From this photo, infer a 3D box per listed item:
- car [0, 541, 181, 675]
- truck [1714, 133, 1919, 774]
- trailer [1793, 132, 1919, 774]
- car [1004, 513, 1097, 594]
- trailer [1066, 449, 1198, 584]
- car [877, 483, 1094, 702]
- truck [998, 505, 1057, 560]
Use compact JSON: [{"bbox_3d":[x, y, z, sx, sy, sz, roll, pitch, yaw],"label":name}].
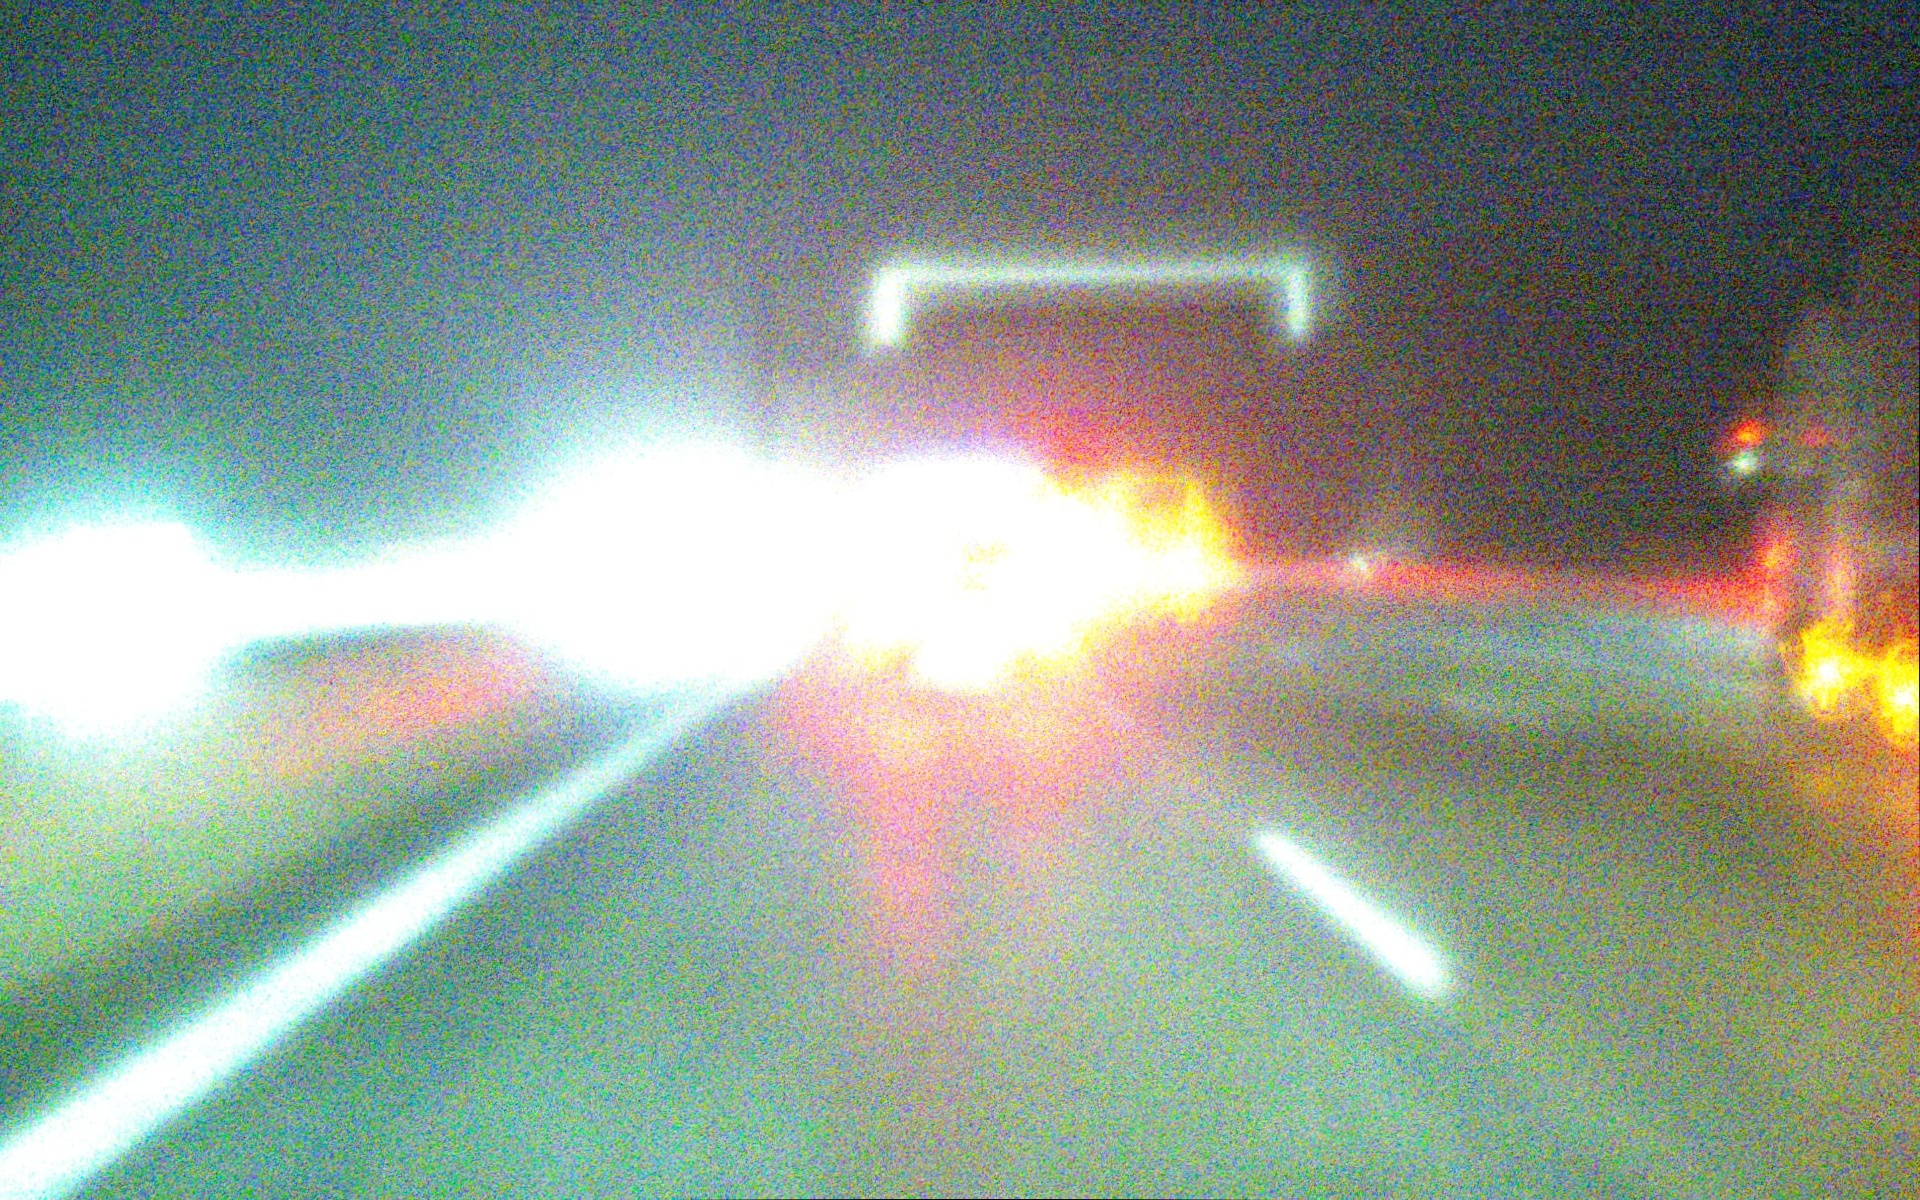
[{"bbox_3d":[-13.863,0.091,54.837,1.993,2.007,4.000,-1,1,-1],"label":"car"},{"bbox_3d":[7.556,-1.000,24.426,2.903,4.094,6.031,-2,1,-1],"label":"truck"},{"bbox_3d":[7.650,-0.887,17.737,2.903,4.094,14.488,-2,1,-1],"label":"trailer"},{"bbox_3d":[2.359,-1.212,90.452,1.993,2.007,4.001,-2,0,-4],"label":"car"},{"bbox_3d":[5.579,-2.660,113.968,3.041,4.094,13.830,-2,0,-2],"label":"trailer"},{"bbox_3d":[0.190,-0.078,34.109,1.993,2.007,4.000,1,0,-1],"label":"car"},{"bbox_3d":[4.300,-4.304,221.544,3.037,3.286,11.382,-2,0,-2],"label":"truck"}]
